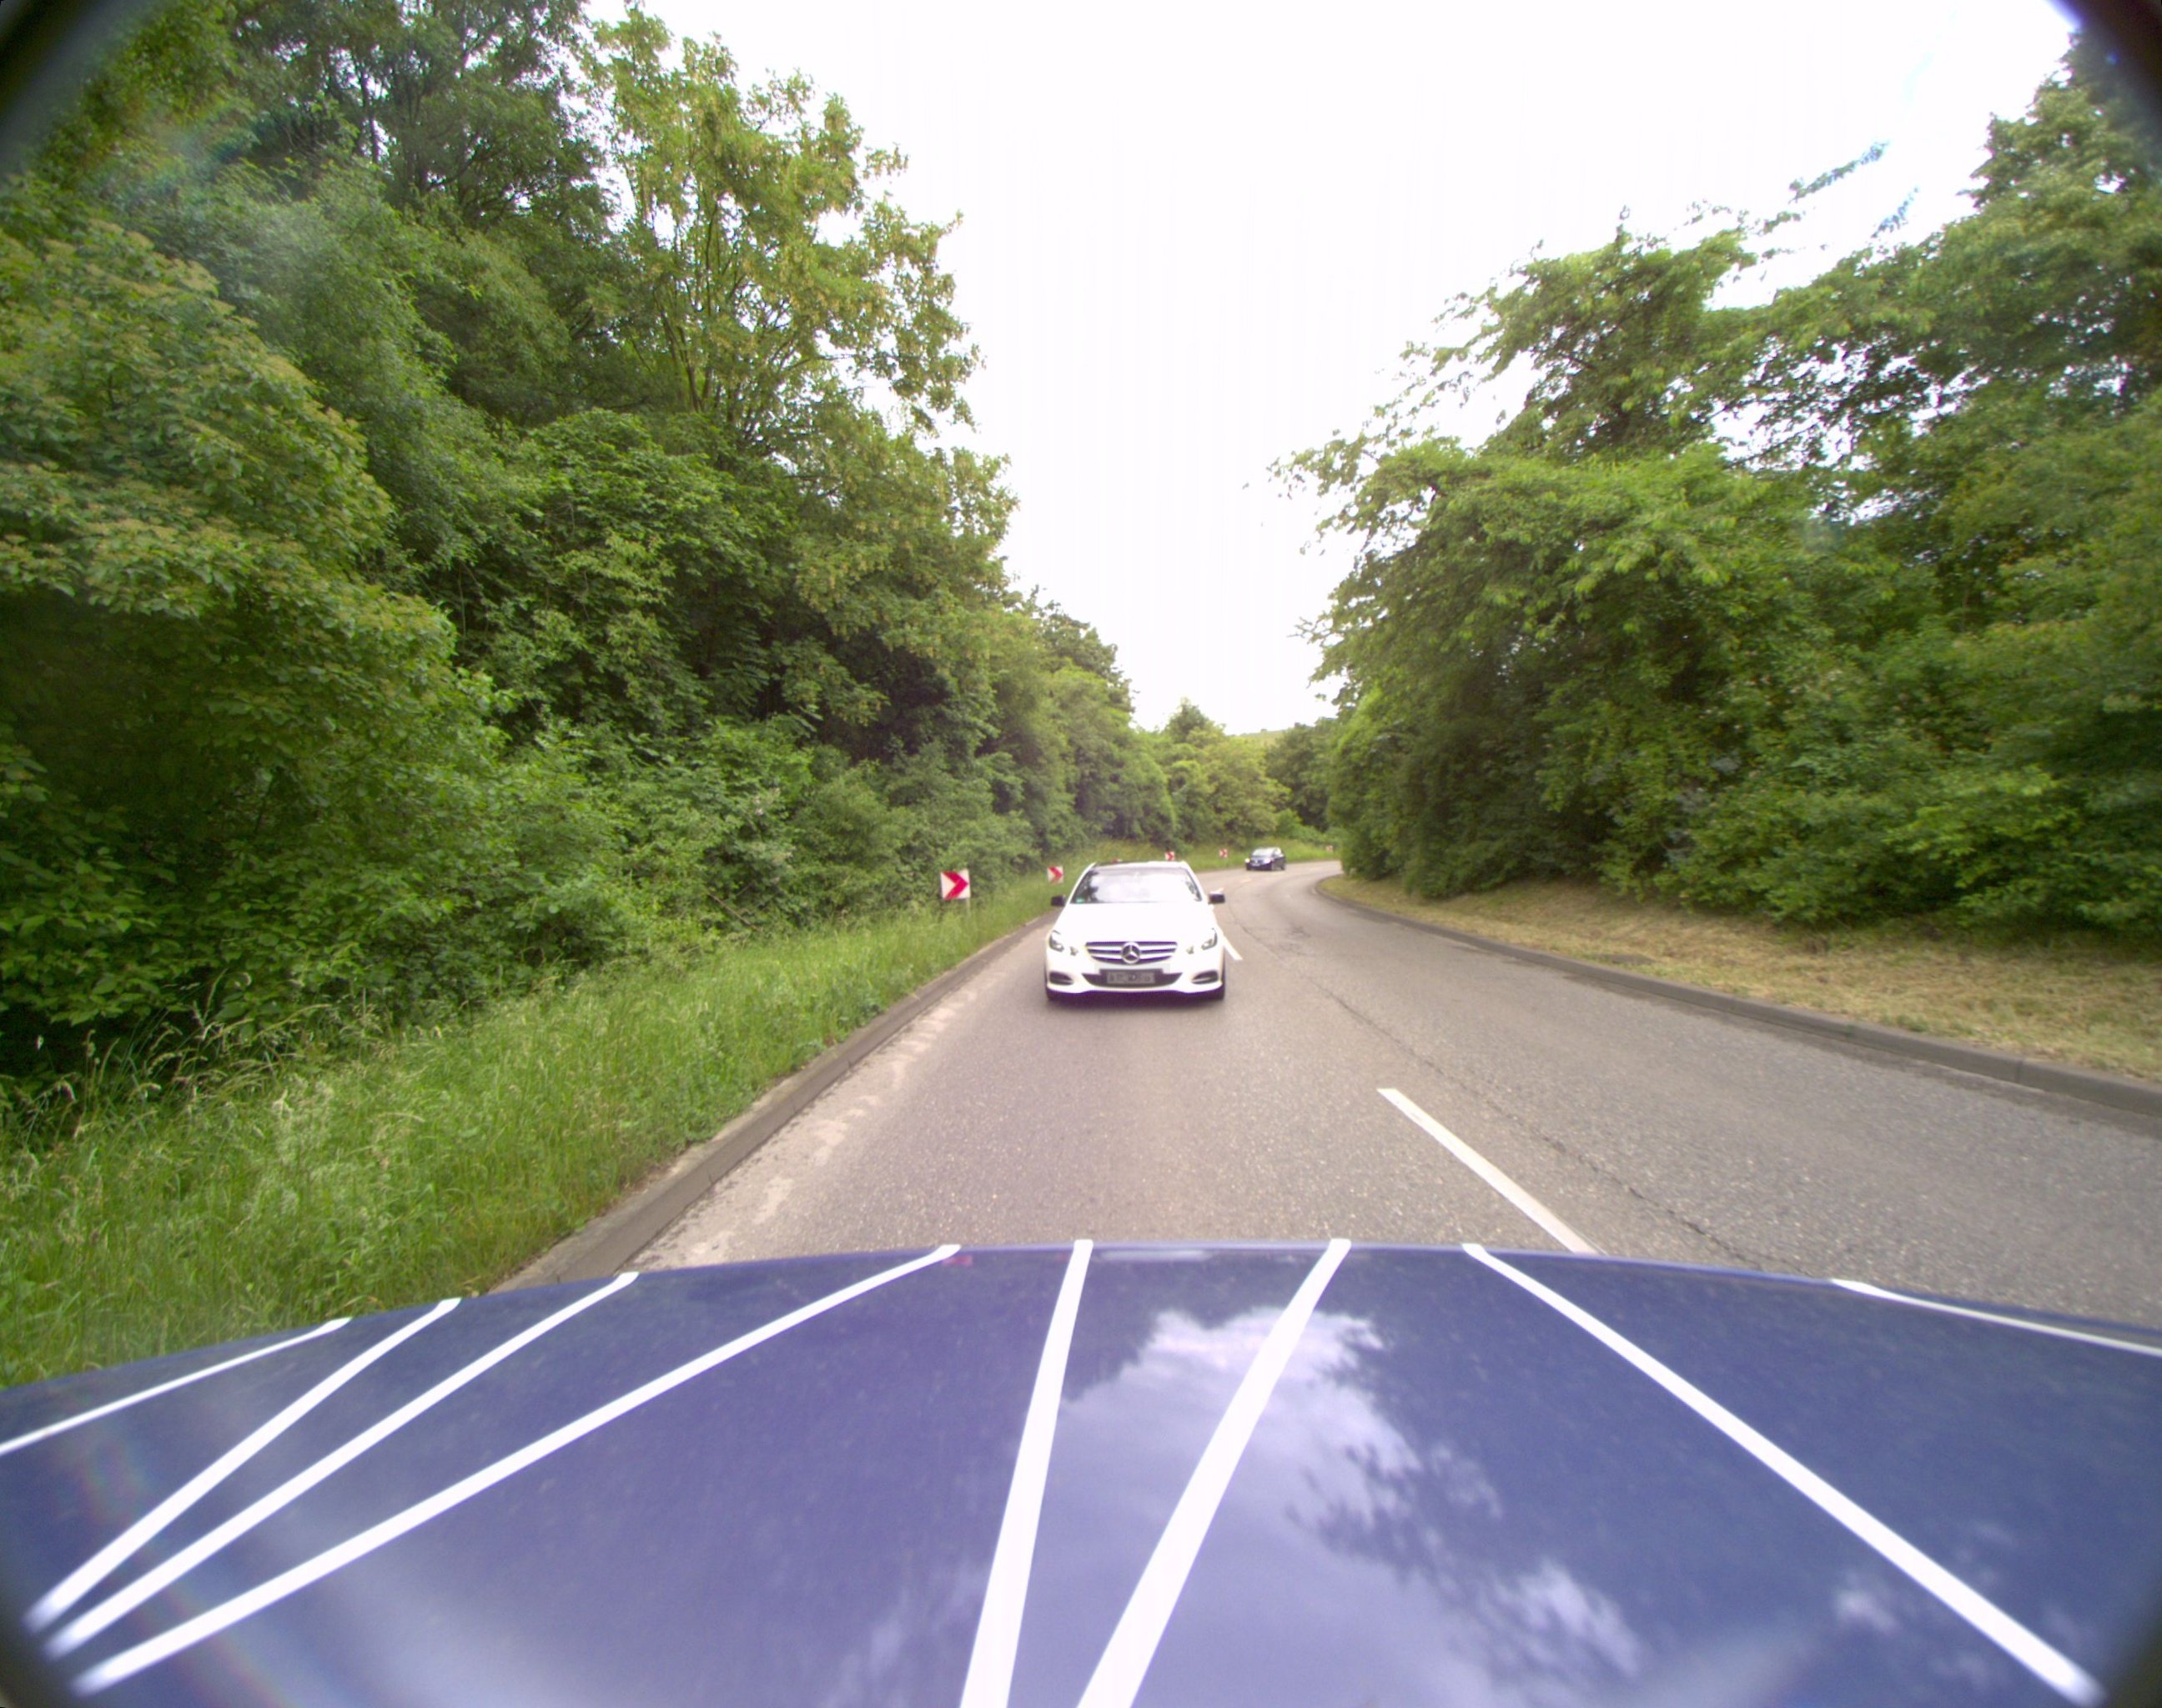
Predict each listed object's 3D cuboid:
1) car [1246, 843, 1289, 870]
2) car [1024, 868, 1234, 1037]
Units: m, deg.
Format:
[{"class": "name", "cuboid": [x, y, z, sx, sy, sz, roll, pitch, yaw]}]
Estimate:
[{"class": "car", "cuboid": [12.344, 0.123, 50.273, 1.549, 1.636, 3.746, 4, 3, 33]}, {"class": "car", "cuboid": [0.634, 0.952, 9.100, 1.866, 1.423, 4.357, -2, 0, 5]}]
